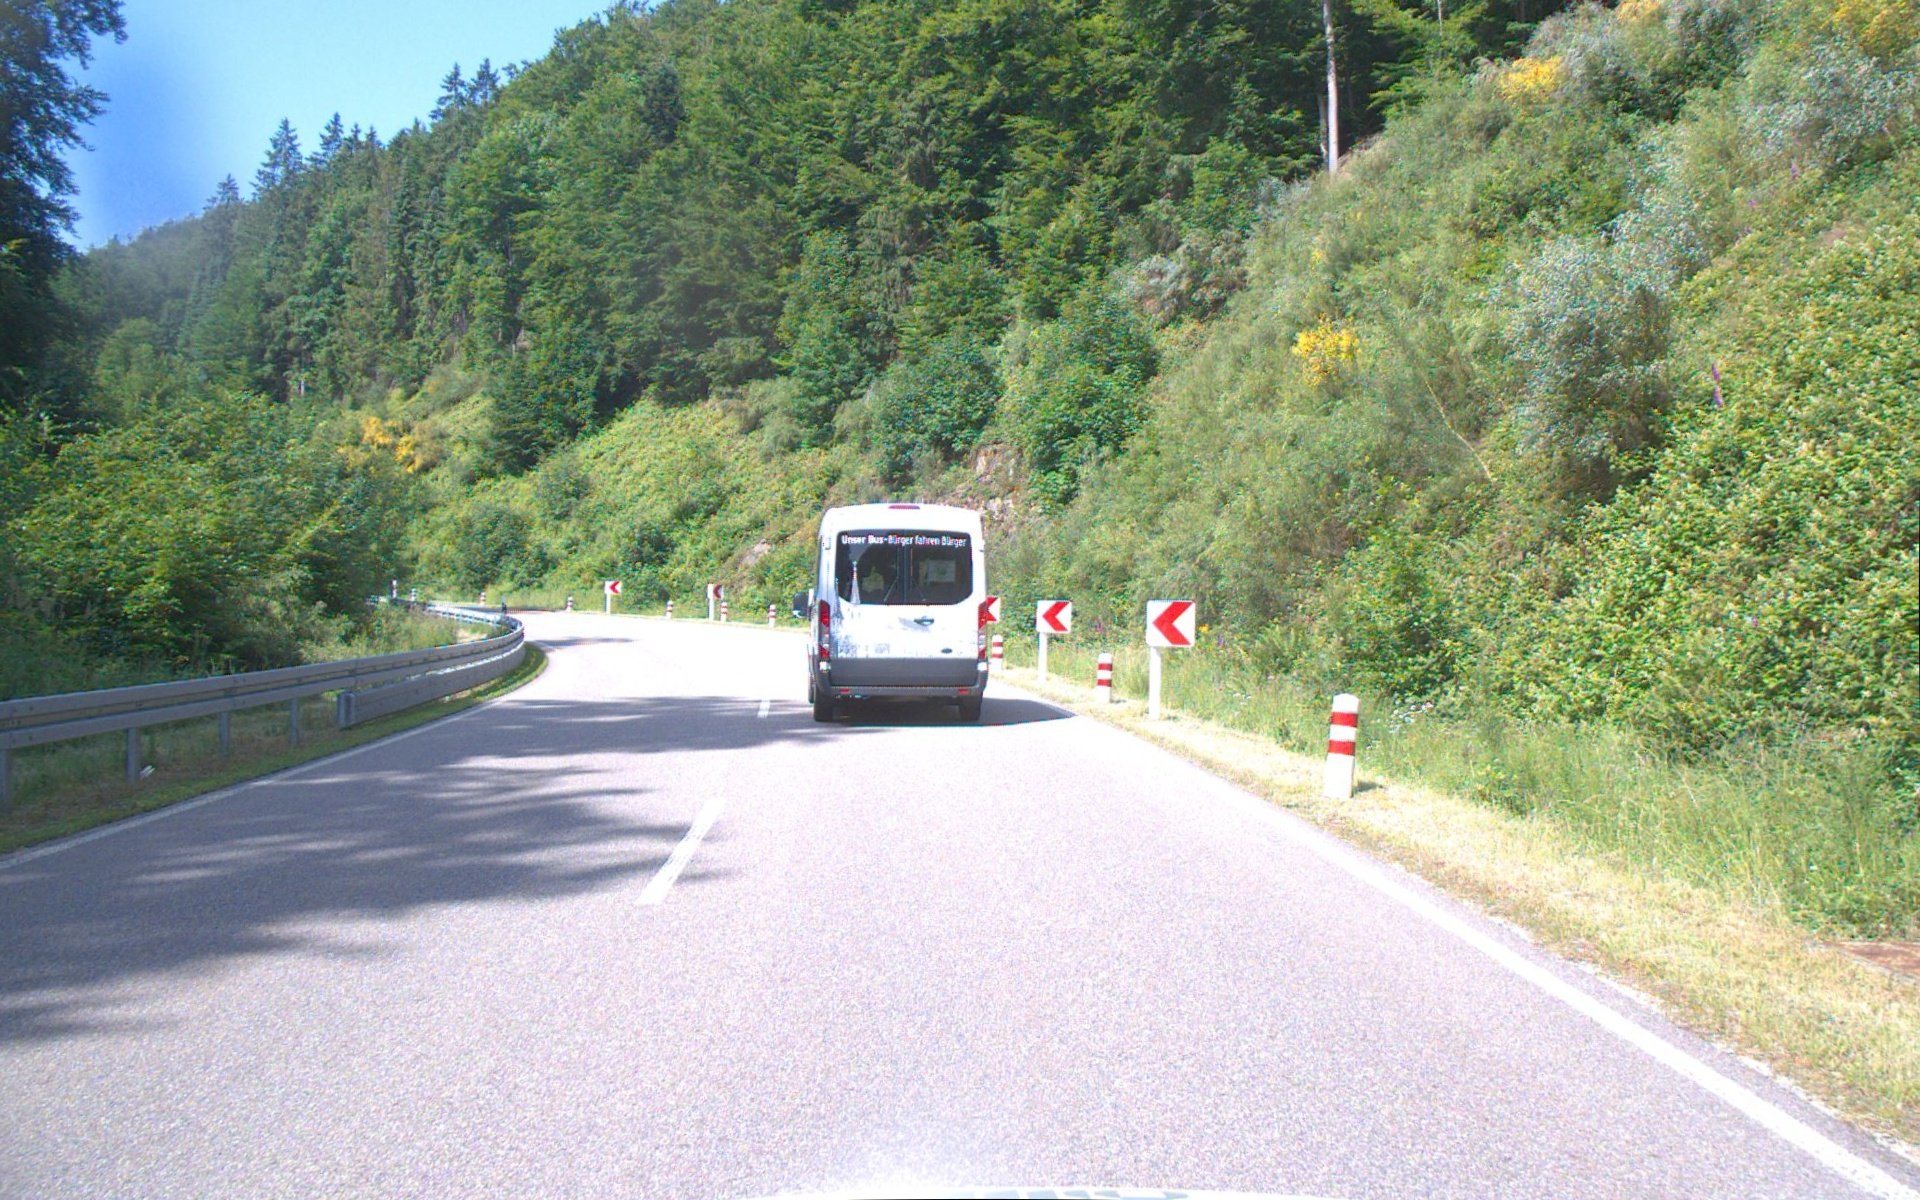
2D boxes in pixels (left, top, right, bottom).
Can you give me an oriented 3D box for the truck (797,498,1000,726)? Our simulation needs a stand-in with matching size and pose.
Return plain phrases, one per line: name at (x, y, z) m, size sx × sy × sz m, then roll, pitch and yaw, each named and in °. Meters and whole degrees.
truck at (-0.911, 0.125, 20.701) m, size 2.044 × 2.502 × 4.866 m, roll 0°, pitch 0°, yaw -8°
